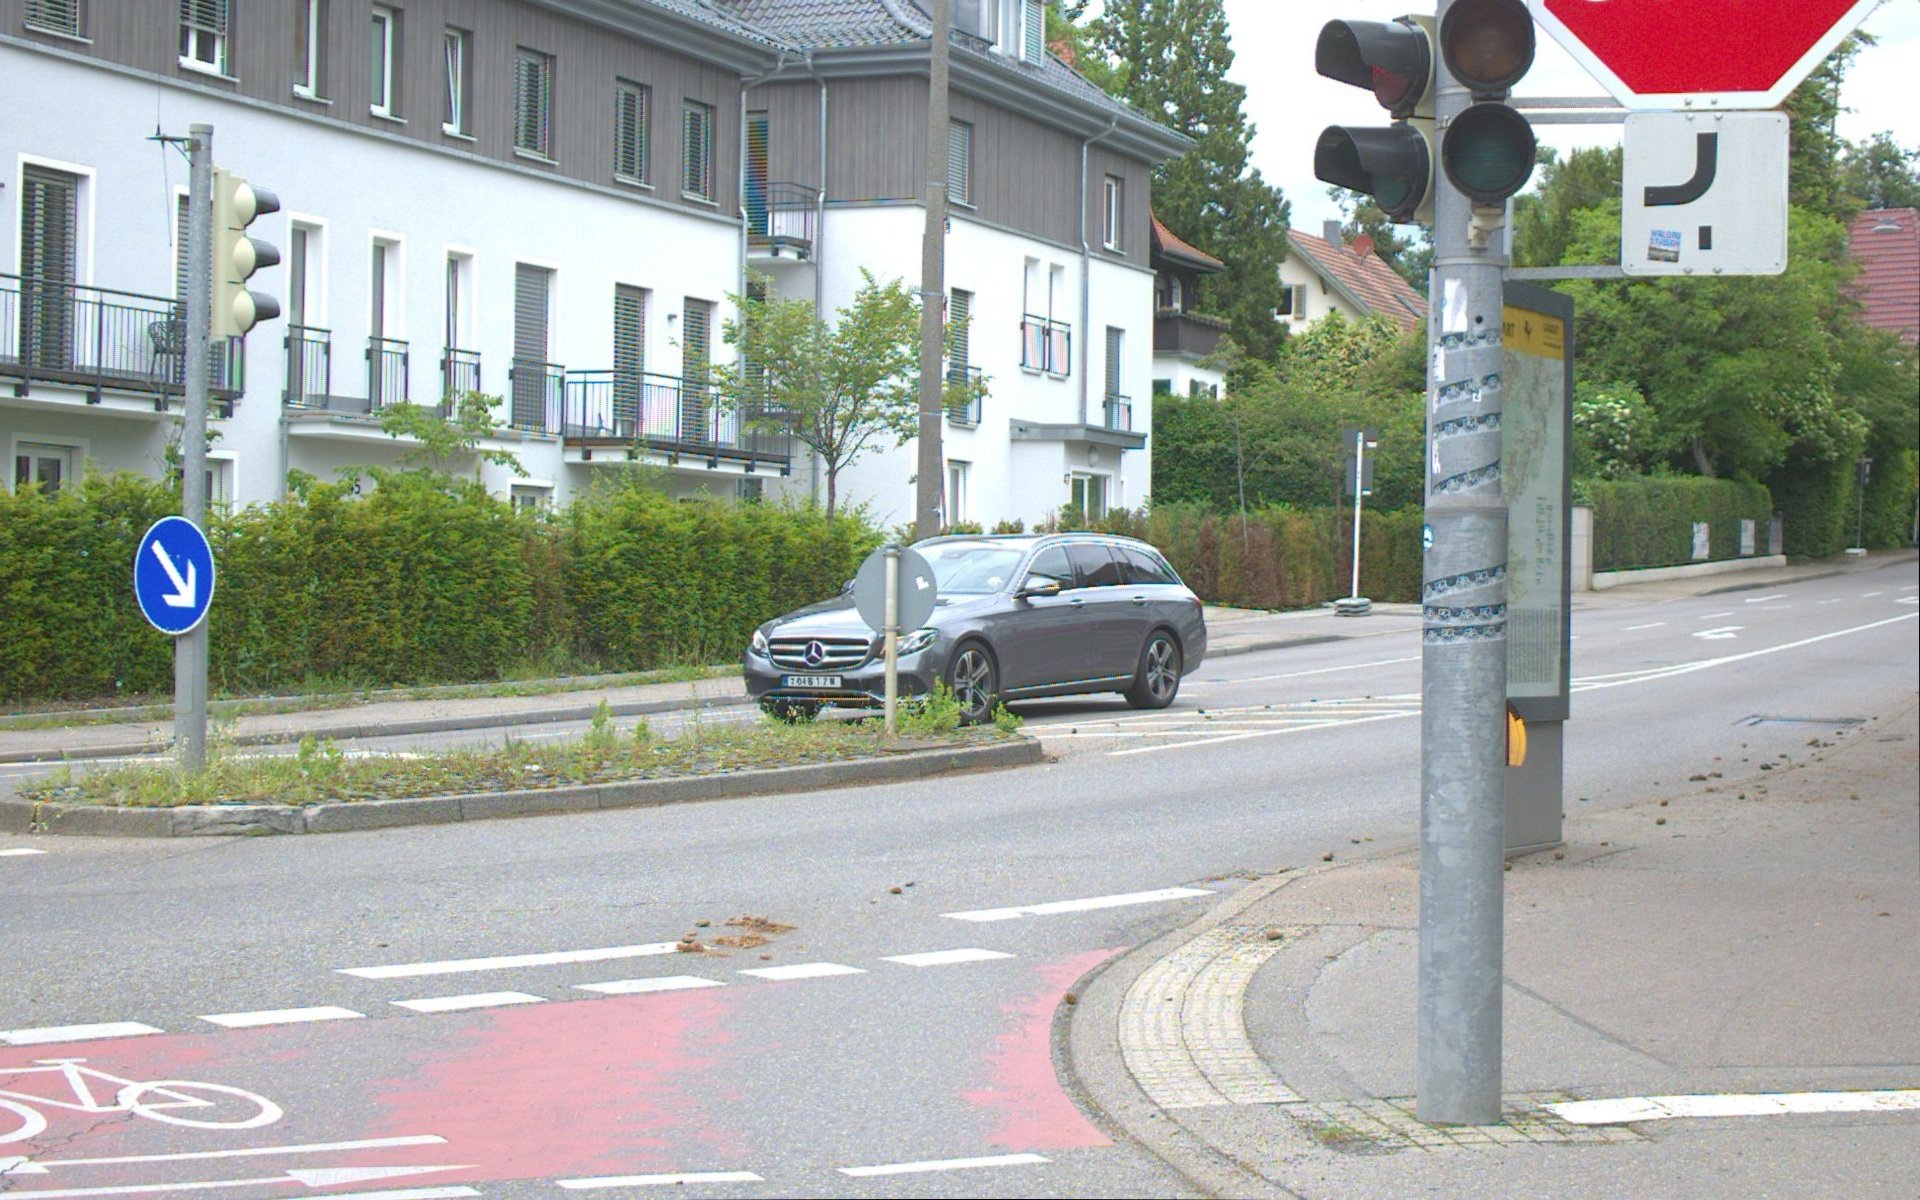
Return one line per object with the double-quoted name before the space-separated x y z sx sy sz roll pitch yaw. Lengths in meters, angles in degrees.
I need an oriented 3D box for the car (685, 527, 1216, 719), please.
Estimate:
"car" 0.029 0.118 27.783 1.942 1.399 4.733 1 2 34
